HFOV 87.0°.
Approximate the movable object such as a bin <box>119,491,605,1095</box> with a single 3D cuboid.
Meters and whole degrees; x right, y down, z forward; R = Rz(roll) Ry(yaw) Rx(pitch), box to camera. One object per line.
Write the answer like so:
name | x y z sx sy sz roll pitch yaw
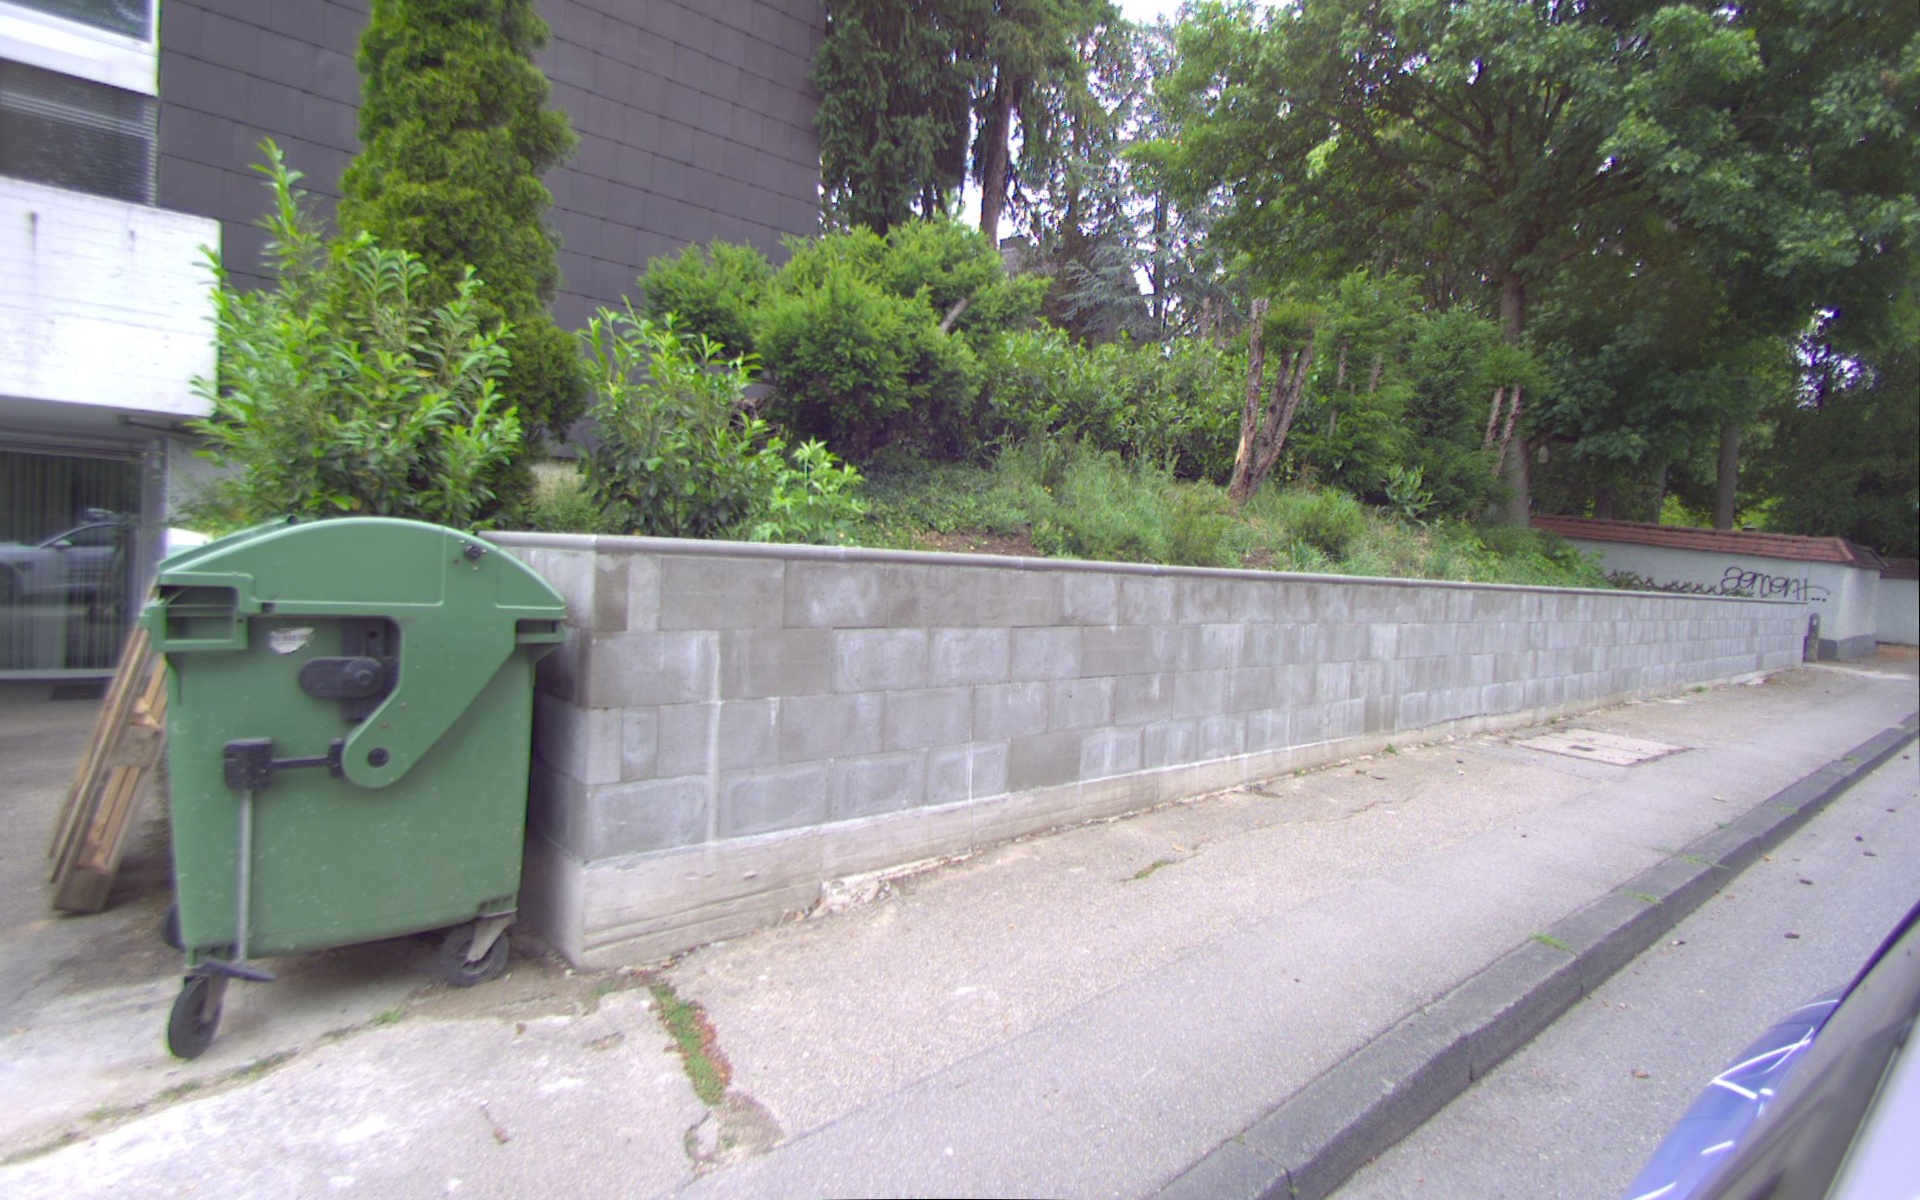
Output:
movable object such as a bin | -1.991 0.422 3.308 1.160 1.468 1.303 0 4 -40
